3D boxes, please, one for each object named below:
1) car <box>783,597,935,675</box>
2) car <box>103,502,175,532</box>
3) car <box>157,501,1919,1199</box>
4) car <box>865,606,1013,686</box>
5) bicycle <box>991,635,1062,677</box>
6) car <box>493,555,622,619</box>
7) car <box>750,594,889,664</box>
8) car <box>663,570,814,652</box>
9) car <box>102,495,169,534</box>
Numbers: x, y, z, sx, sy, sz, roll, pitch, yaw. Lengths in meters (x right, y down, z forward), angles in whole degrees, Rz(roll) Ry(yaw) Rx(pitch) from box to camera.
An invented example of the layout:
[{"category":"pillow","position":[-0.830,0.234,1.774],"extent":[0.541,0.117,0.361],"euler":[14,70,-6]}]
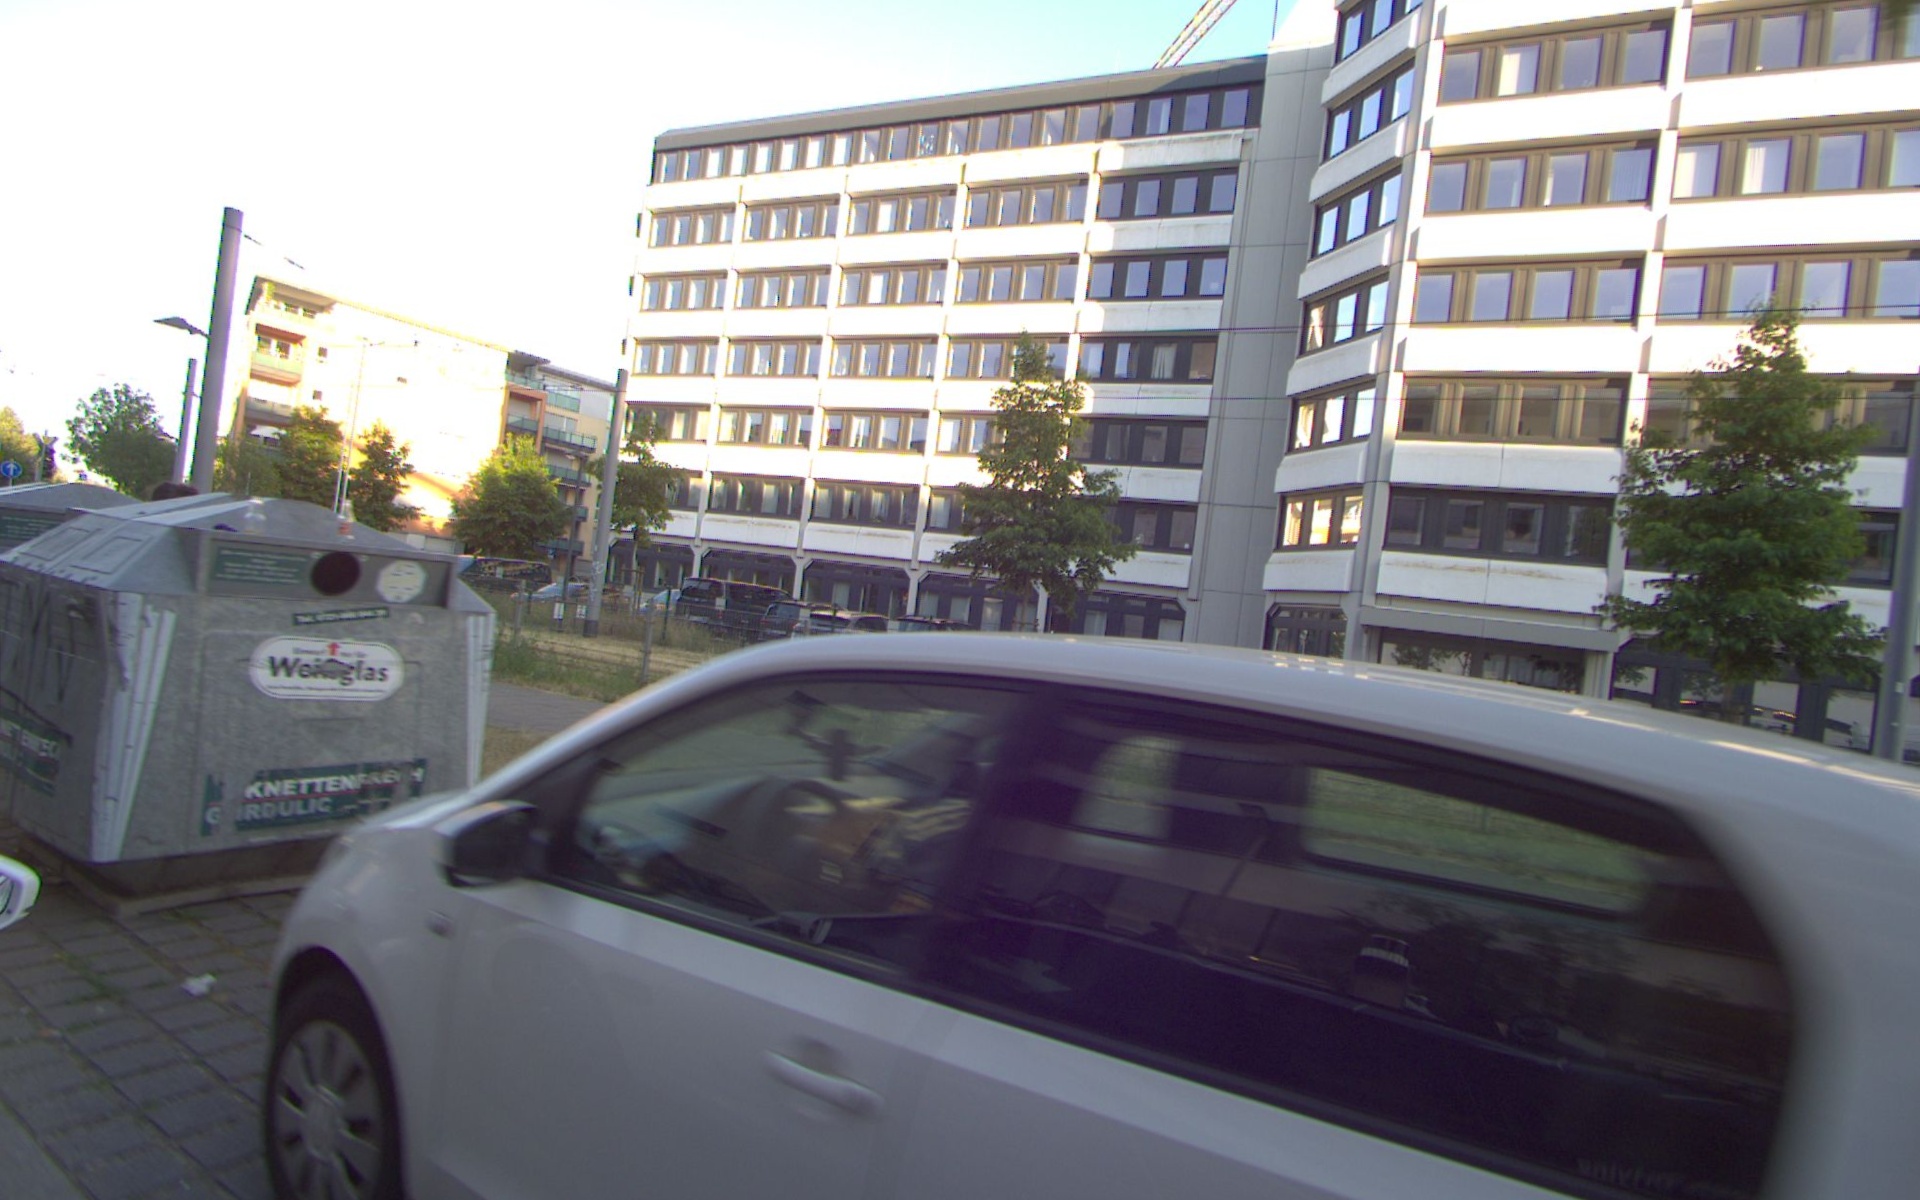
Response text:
[{"category":"car","position":[-2.479,0.992,25.964],"extent":[1.664,1.621,4.509],"euler":[7,-2,25]},{"category":"car","position":[-63.133,-6.369,77.404],"extent":[4.136,1.594,1.685],"euler":[8,-2,-39]},{"category":"car","position":[0.041,0.740,2.180],"extent":[3.496,1.485,1.724],"euler":[7,0,34]},{"category":"car","position":[-0.402,1.203,24.912],"extent":[1.664,1.621,4.509],"euler":[7,-2,25]},{"category":"bicycle","position":[2.521,2.122,38.239],"extent":[2.389,1.213,0.831],"euler":[7,-3,26]},{"category":"car","position":[-15.931,-0.470,40.091],"extent":[1.897,1.959,4.509],"euler":[7,-1,25]},{"category":"car","position":[-4.000,0.899,29.409],"extent":[1.664,1.621,4.509],"euler":[7,-2,26]},{"category":"car","position":[-6.644,0.397,30.657],"extent":[1.897,1.959,4.508],"euler":[7,-2,27]},{"category":"car","position":[-70.437,-7.317,85.968],"extent":[4.141,2.615,1.683],"euler":[8,-1,-43]}]
